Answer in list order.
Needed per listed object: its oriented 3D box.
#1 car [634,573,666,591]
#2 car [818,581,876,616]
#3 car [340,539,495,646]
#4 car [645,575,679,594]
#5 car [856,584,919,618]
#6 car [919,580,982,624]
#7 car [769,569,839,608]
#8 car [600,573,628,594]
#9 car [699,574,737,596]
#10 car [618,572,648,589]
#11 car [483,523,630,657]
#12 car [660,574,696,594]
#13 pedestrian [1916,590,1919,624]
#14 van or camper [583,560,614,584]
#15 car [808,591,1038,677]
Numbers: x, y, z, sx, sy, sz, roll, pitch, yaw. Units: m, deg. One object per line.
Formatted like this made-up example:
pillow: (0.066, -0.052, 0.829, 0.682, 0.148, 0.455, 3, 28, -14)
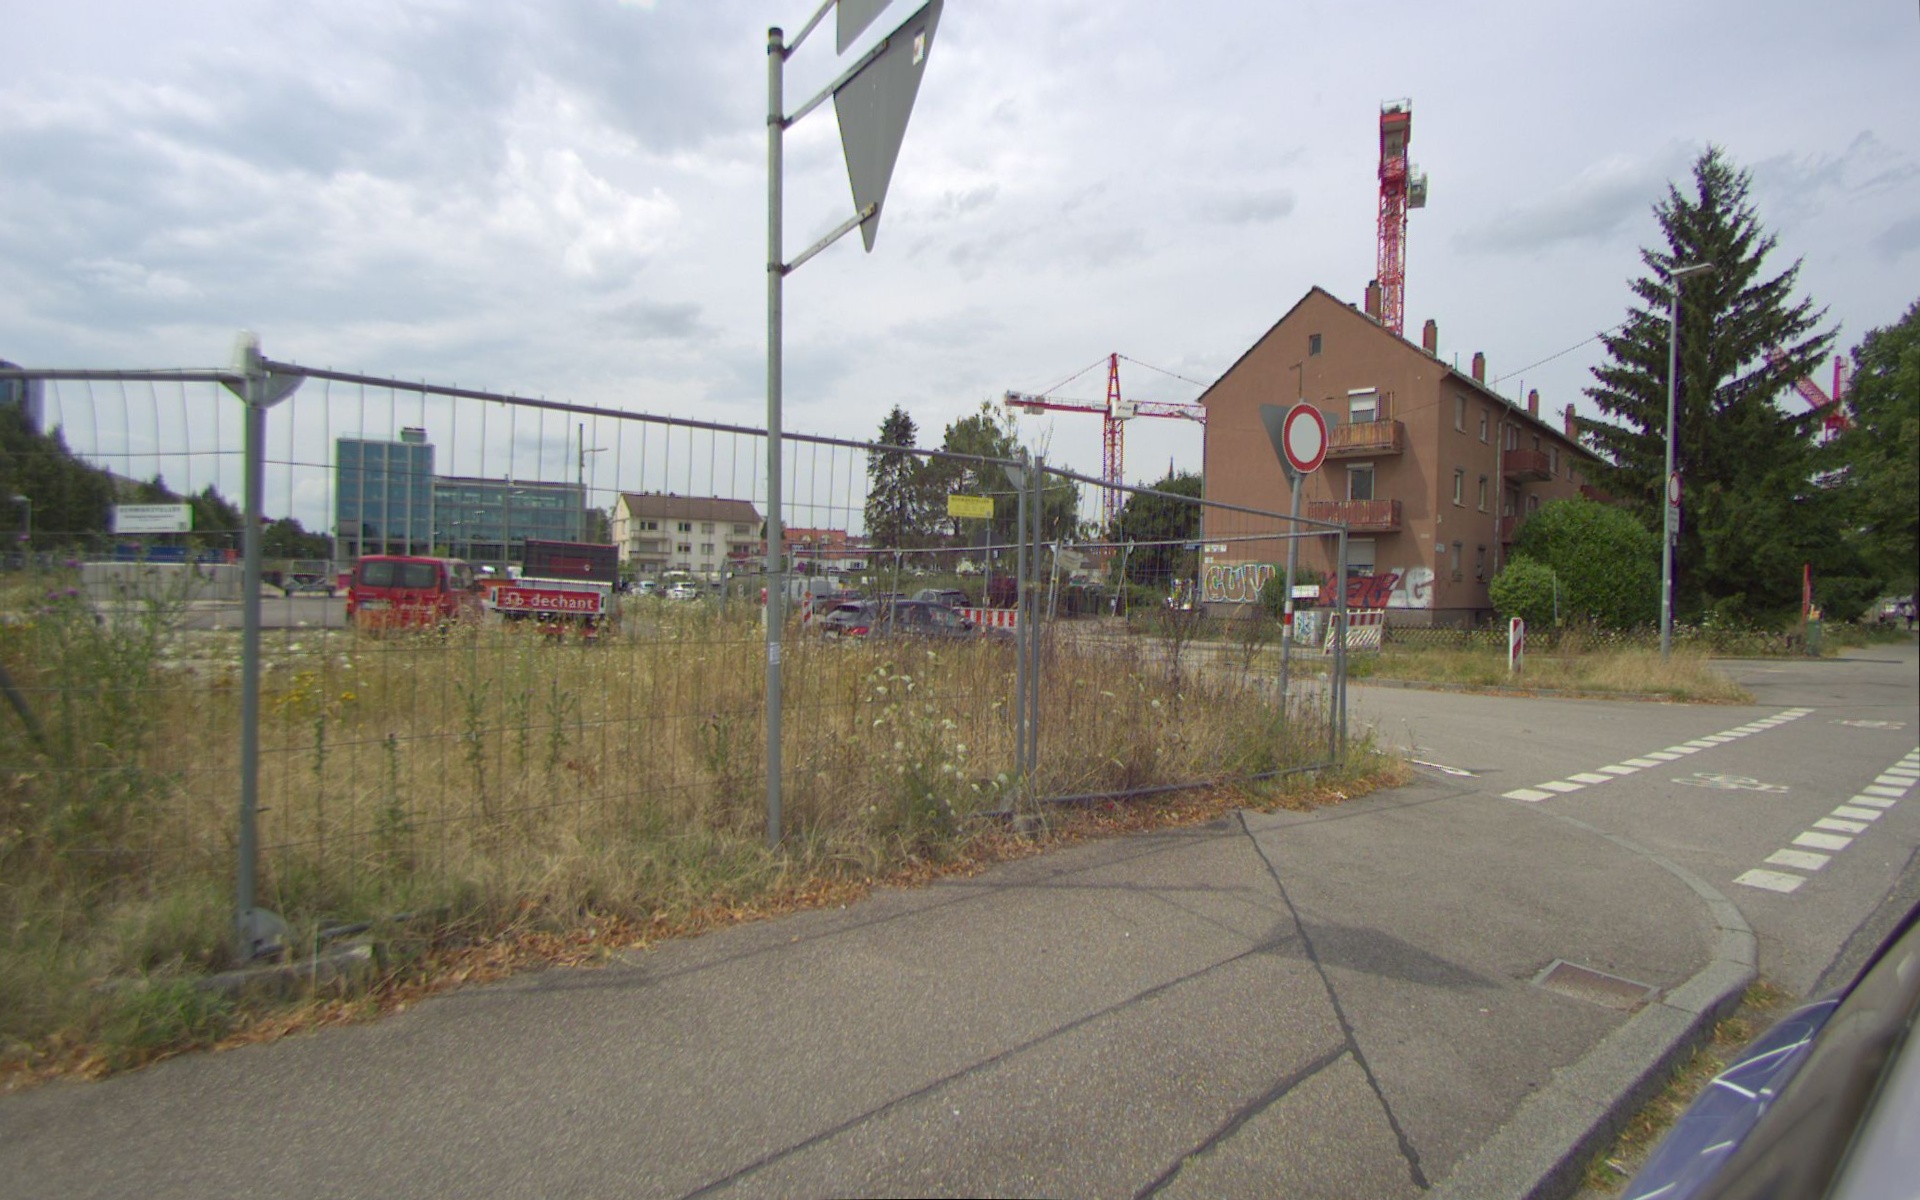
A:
car: (-27.596, -1.586, 89.909, 1.820, 1.554, 4.018, 0, 1, -31)
car: (-6.179, -0.112, 54.857, 1.819, 1.771, 4.020, 1, 1, -27)
car: (-11.426, -0.179, 21.702, 1.896, 1.934, 4.999, 3, 0, -17)
car: (-25.209, -1.292, 85.572, 1.820, 1.554, 4.018, 0, 1, -31)
car: (-3.648, 0.025, 50.414, 1.765, 1.622, 4.021, 1, 1, -26)
car: (-0.470, 0.057, 46.004, 1.764, 1.872, 4.009, 1, 1, -17)
car: (-9.241, -0.711, 59.647, 2.106, 2.163, 4.911, 0, 1, -35)
car: (-35.086, -1.667, 102.624, 1.852, 2.126, 4.018, 0, 1, -31)
car: (-17.995, -1.114, 75.102, 1.819, 1.525, 4.020, 0, 1, -28)
car: (-30.770, -1.873, 95.102, 1.820, 1.554, 4.018, 0, 1, -31)
car: (-8.521, -0.246, 22.013, 2.269, 2.442, 6.557, 1, 1, -16)
car: (-22.561, -1.304, 80.818, 1.820, 1.554, 4.018, 0, 1, -31)
pedestrian: (57.018, 0.419, 59.719, 0.853, 2.039, 0.720, 1, 0, 44)
van or camper: (-42.830, -3.327, 119.818, 2.306, 2.721, 5.249, 0, 1, -32)
car: (-0.670, 0.597, 19.698, 4.177, 1.492, 1.767, 0, 1, -35)
